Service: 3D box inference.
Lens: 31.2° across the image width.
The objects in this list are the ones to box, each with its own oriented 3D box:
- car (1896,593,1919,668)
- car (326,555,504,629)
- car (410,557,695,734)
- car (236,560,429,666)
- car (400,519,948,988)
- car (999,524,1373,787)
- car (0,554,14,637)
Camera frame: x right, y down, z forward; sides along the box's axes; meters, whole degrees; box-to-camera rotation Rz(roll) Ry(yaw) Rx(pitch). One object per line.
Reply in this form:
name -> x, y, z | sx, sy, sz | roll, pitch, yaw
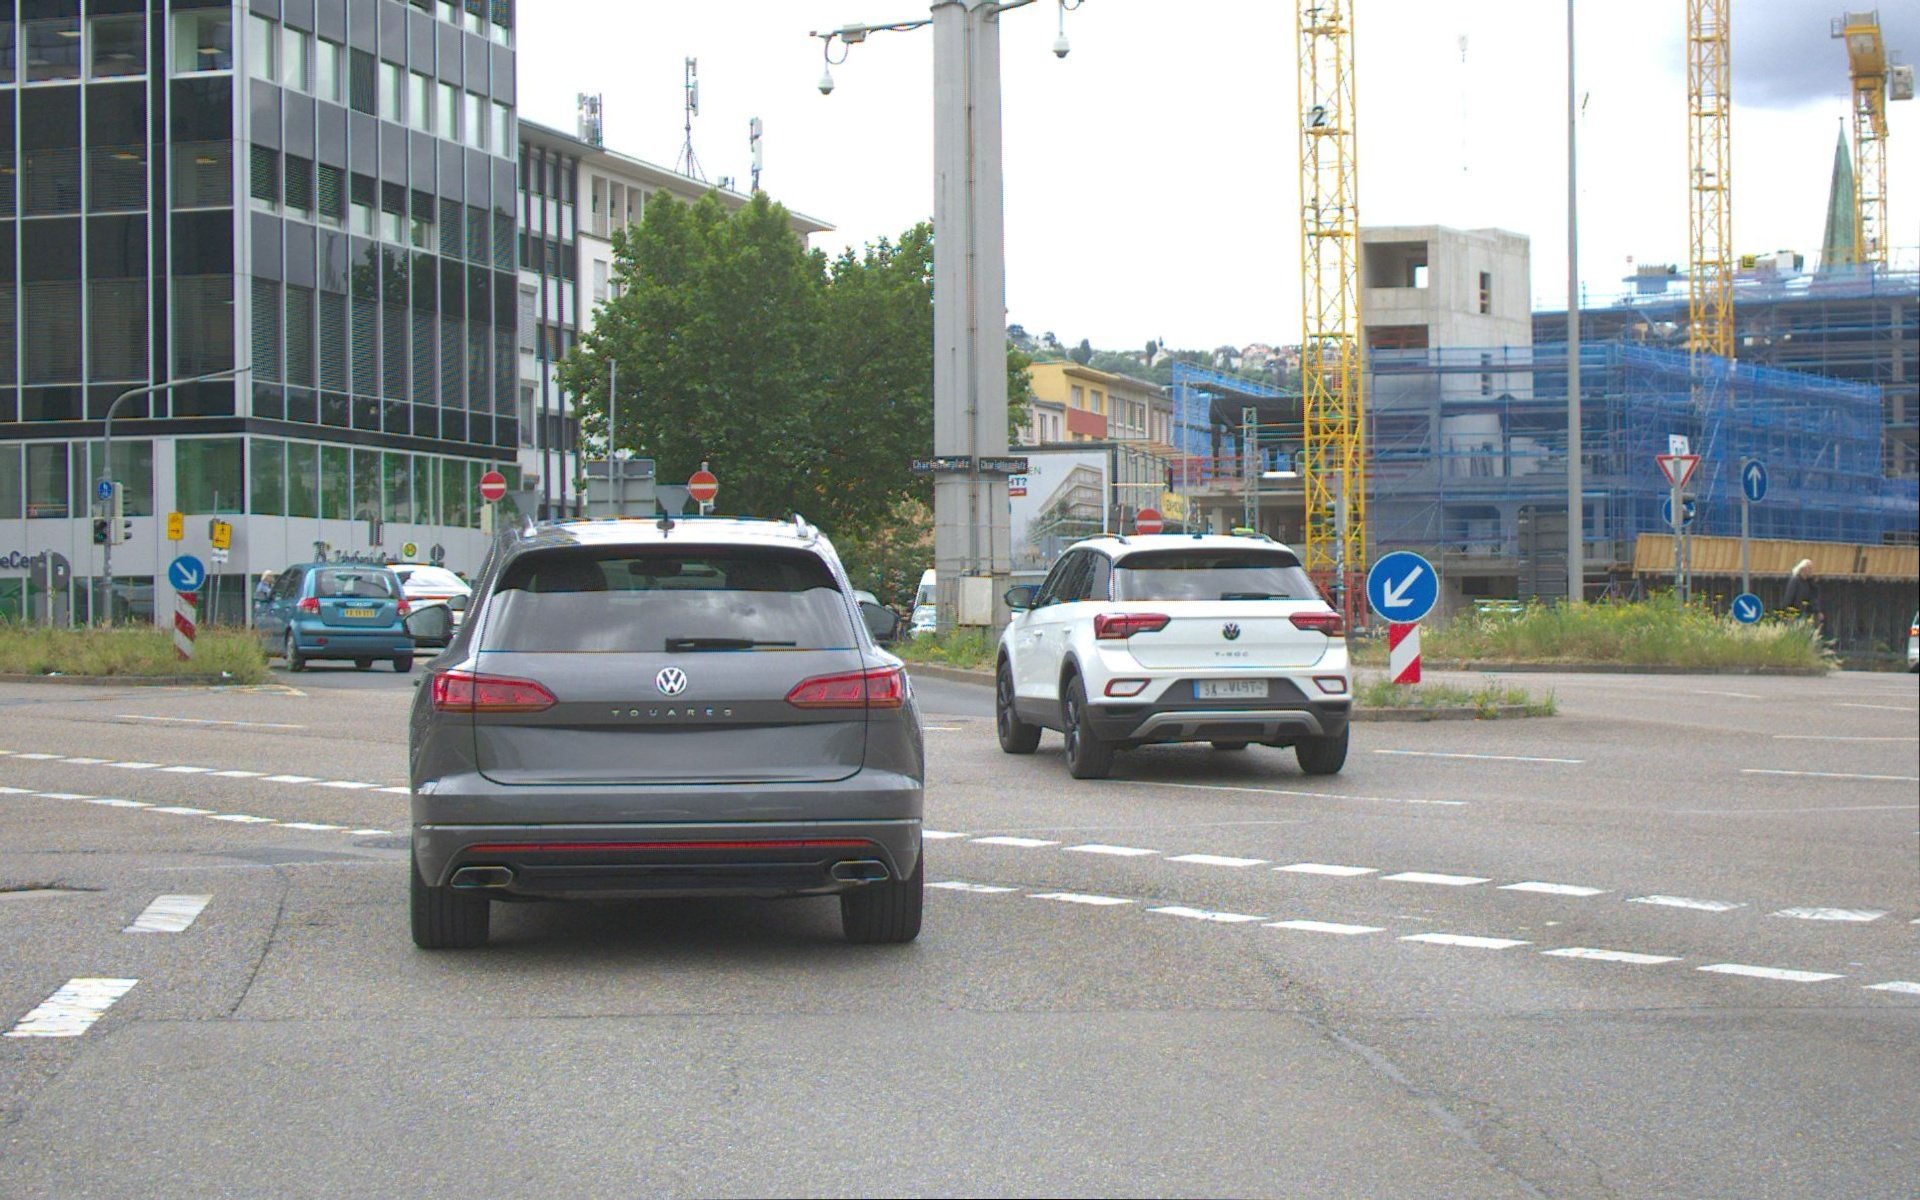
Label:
car -> 20.583, 0.641, 70.481 | 1.806, 1.497, 3.975 | 1, 0, 28
car -> -8.915, -0.149, 56.006 | 1.670, 1.135, 4.071 | 0, 1, -28
car -> -3.485, 0.326, 28.811 | 1.792, 1.352, 4.072 | 0, 1, -15
car -> -8.616, 0.141, 46.984 | 1.792, 1.352, 4.071 | 0, 1, -22
car -> -1.269, 0.499, 14.193 | 1.932, 1.641, 4.001 | 0, 1, -8
car -> 1.421, 0.302, 23.088 | 1.893, 1.580, 3.802 | 0, 2, -6
car -> -19.225, -0.116, 63.476 | 1.815, 1.491, 3.904 | -1, 2, -42
